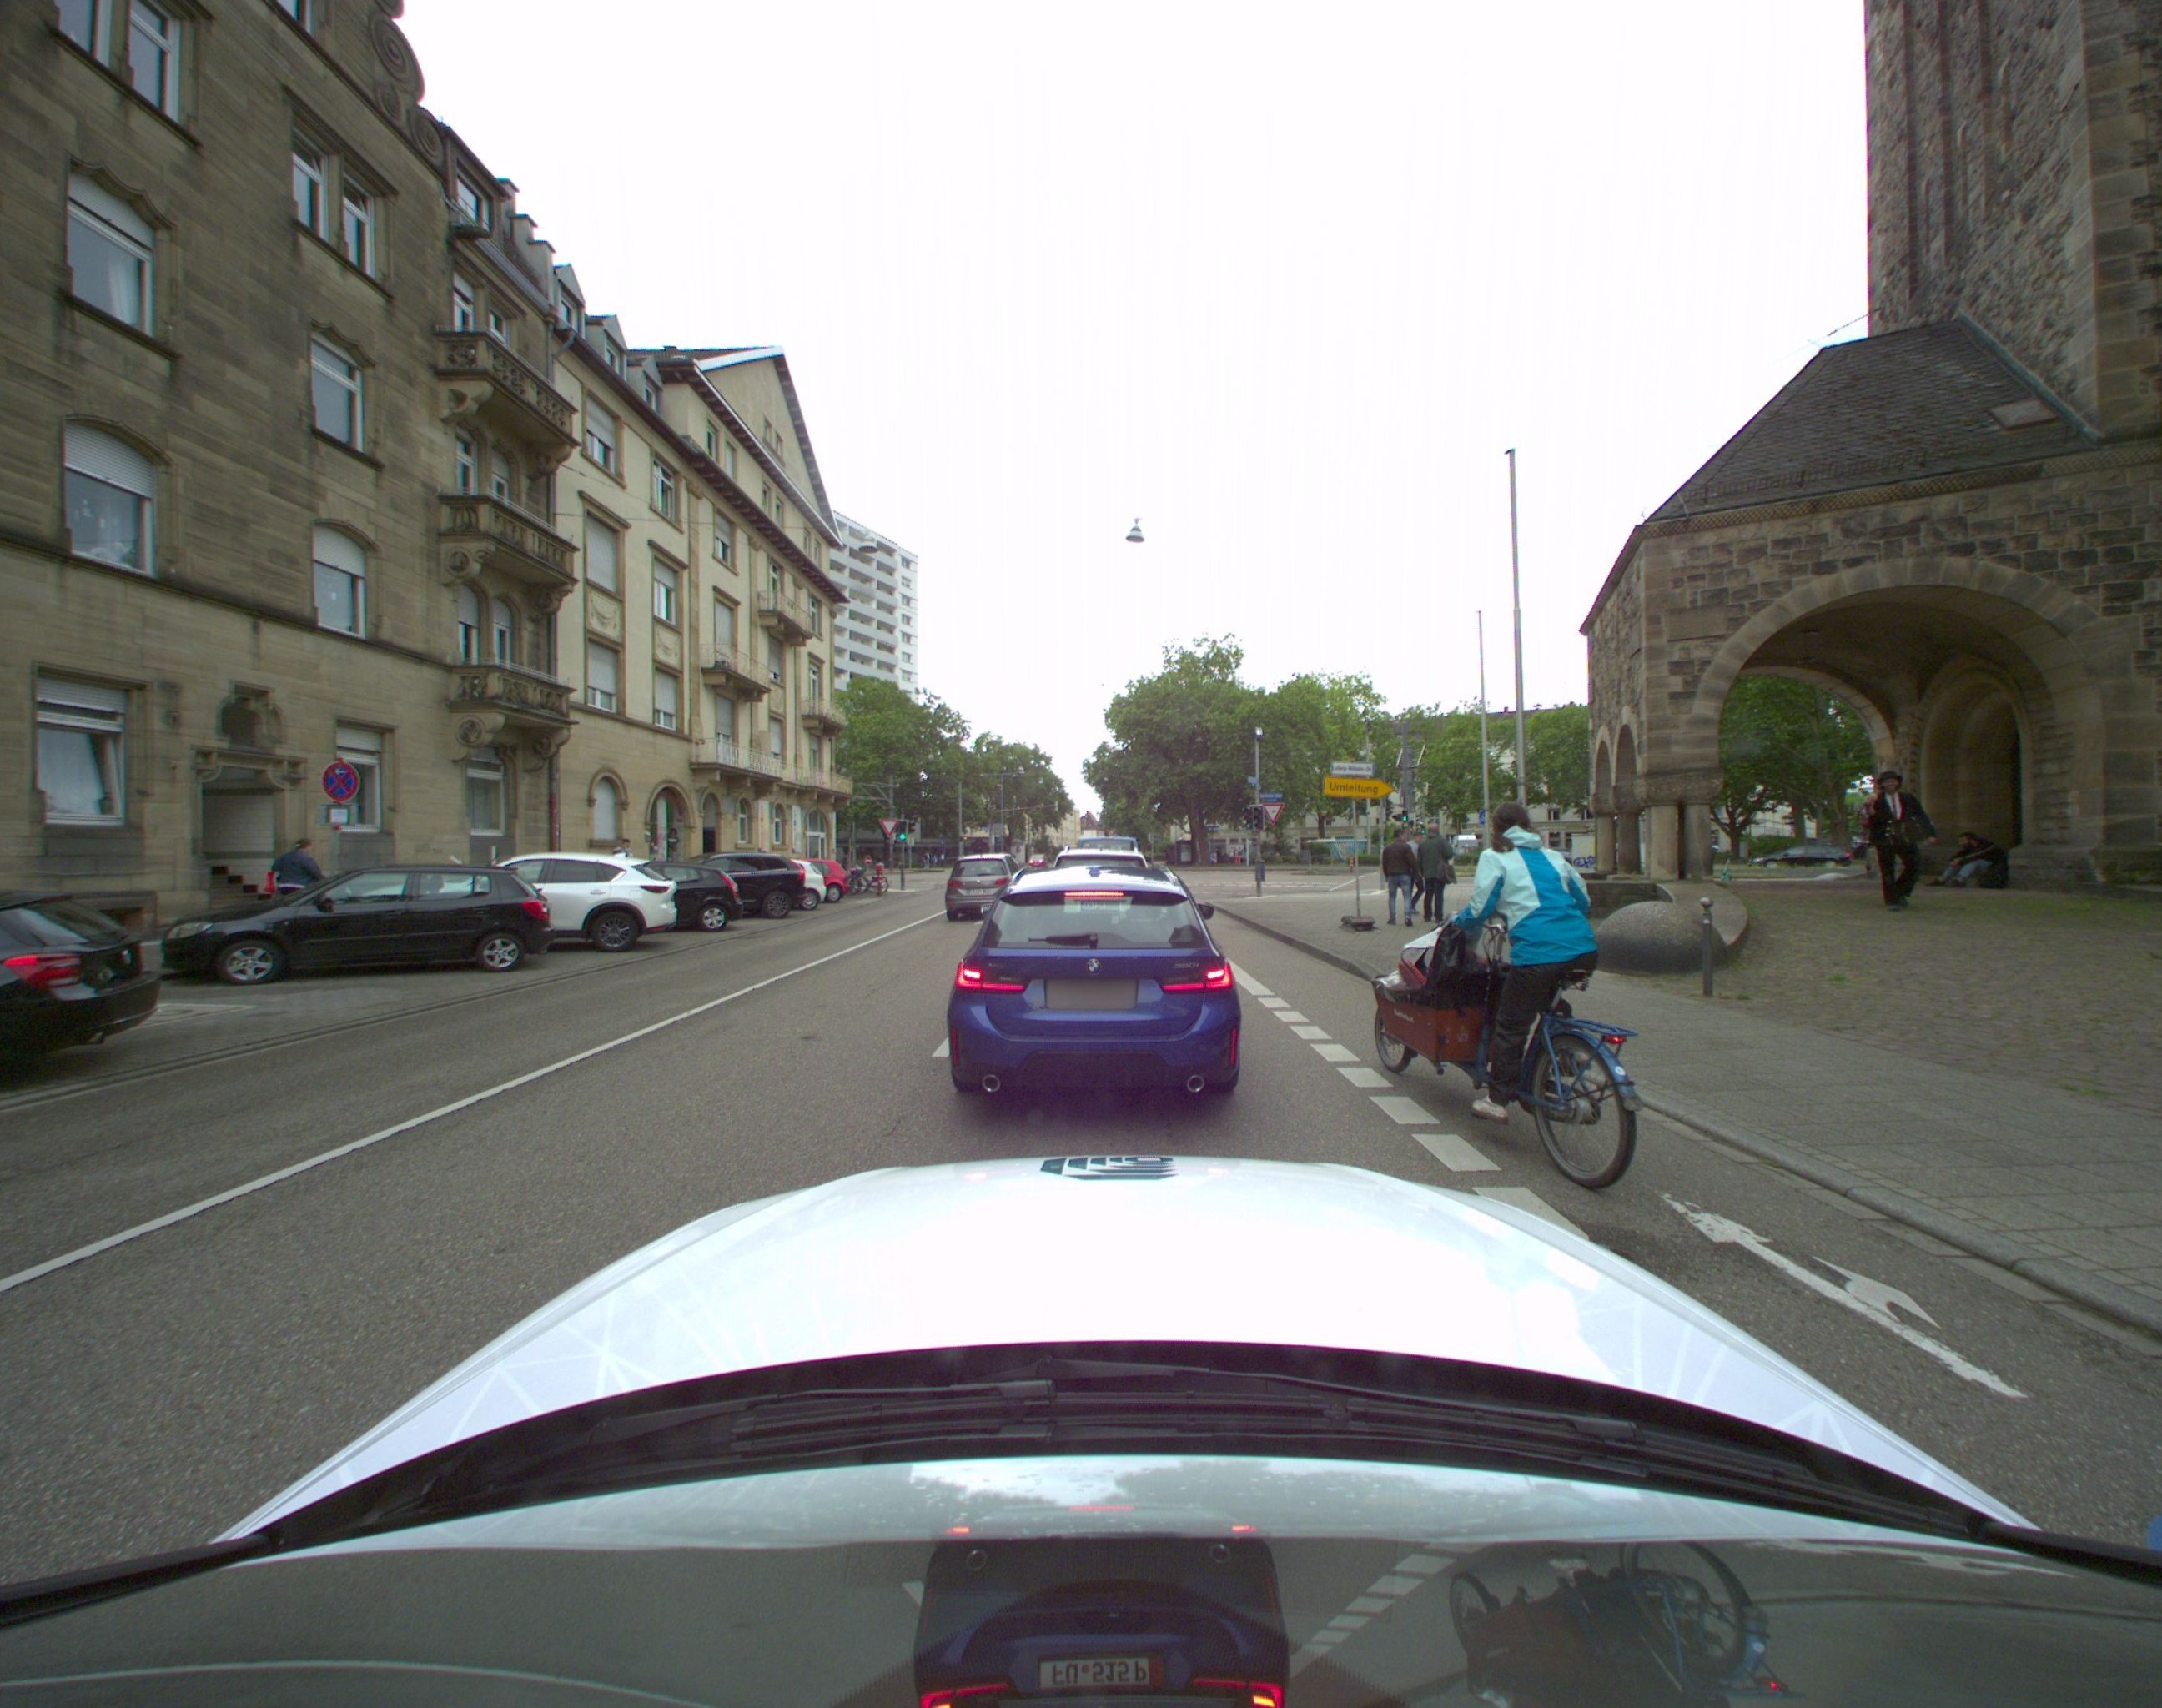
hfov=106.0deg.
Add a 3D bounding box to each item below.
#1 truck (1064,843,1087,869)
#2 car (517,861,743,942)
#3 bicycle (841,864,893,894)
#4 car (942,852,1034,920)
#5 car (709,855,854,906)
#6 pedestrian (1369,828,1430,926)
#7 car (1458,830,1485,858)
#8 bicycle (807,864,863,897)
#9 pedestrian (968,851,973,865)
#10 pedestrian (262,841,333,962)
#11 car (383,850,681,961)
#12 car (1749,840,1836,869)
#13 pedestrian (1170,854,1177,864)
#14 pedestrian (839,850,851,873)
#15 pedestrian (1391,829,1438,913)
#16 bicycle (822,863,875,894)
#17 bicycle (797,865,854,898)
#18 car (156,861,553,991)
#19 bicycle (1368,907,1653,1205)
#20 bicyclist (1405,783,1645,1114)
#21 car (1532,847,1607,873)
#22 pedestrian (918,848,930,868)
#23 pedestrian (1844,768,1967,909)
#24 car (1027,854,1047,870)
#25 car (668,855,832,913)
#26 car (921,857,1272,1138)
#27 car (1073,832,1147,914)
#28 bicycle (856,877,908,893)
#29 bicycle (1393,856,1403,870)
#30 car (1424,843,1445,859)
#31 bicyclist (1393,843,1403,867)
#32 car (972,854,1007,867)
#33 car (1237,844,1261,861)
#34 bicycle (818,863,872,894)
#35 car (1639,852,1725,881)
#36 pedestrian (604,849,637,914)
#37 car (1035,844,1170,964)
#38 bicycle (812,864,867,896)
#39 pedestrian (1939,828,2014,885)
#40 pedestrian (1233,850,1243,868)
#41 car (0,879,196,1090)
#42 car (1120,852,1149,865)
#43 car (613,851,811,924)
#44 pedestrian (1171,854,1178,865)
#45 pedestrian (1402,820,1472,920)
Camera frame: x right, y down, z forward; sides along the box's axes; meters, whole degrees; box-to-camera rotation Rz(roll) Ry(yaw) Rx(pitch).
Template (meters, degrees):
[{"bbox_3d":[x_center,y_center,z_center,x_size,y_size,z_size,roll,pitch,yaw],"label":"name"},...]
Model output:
[{"bbox_3d":[-0.528,0.150,80.382,2.068,2.408,5.461,-2,0,0],"label":"truck"},{"bbox_3d":[-9.471,0.910,17.211,4.017,1.494,1.713,0,0,-36],"label":"car"},{"bbox_3d":[-8.586,0.994,32.710,1.880,1.035,0.442,5,0,-1],"label":"bicycle"},{"bbox_3d":[-2.257,0.734,20.710,1.726,1.525,4.002,-1,0,2],"label":"car"},{"bbox_3d":[-9.497,0.807,26.054,1.663,1.472,4.024,1,0,43],"label":"car"},{"bbox_3d":[5.759,0.394,14.782,0.672,1.686,0.969,-3,0,2],"label":"pedestrian"},{"bbox_3d":[39.083,-0.993,81.511,2.214,2.639,5.480,-1,0,28],"label":"car"},{"bbox_3d":[-9.154,0.988,30.341,1.880,1.035,0.442,5,0,-1],"label":"bicycle"},{"bbox_3d":[-13.907,0.504,102.507,0.571,1.771,0.513,-1,0,-11],"label":"pedestrian"},{"bbox_3d":[-12.985,0.772,13.507,0.616,1.958,0.551,-1,0,2],"label":"pedestrian"},{"bbox_3d":[-9.280,0.795,14.213,4.004,1.723,1.827,0,0,-23],"label":"car"},{"bbox_3d":[40.987,0.027,46.983,3.425,1.561,1.697,-1,0,24],"label":"car"},{"bbox_3d":[11.845,0.639,103.932,0.814,1.372,0.763,-1,0,1],"label":"pedestrian"},{"bbox_3d":[-18.335,0.558,63.199,0.672,1.771,0.726,-1,0,1],"label":"pedestrian"},{"bbox_3d":[6.973,0.344,17.071,0.629,1.673,0.971,-3,0,8],"label":"pedestrian"},{"bbox_3d":[-9.165,0.966,32.176,1.880,1.035,0.442,5,0,-1],"label":"bicycle"},{"bbox_3d":[-9.269,0.989,29.527,1.877,1.035,0.443,4,0,4],"label":"bicycle"},{"bbox_3d":[-9.630,0.867,11.213,3.830,1.497,1.552,1,-1,-37],"label":"car"},{"bbox_3d":[2.183,0.919,4.496,0.492,1.098,2.139,-1,0,2],"label":"bicycle"},{"bbox_3d":[2.261,0.433,4.291,0.683,1.517,1.059,-1,0,2],"label":"bicyclist"},{"bbox_3d":[31.114,0.367,52.003,3.940,1.561,1.697,-1,0,24],"label":"car"},{"bbox_3d":[-13.812,0.338,71.583,0.668,1.771,0.730,-1,0,43],"label":"pedestrian"},{"bbox_3d":[11.123,-0.237,11.032,0.806,1.808,1.026,-1,5,22],"label":"pedestrian"},{"bbox_3d":[-4.376,0.787,80.861,1.643,1.447,3.512,-1,0,2],"label":"car"},{"bbox_3d":[-9.348,0.822,23.203,4.021,1.472,1.546,2,0,-41],"label":"car"},{"bbox_3d":[0.148,0.759,6.411,1.808,1.405,4.322,-1,0,2],"label":"car"},{"bbox_3d":[0.782,0.467,22.092,1.808,2.005,4.002,-1,0,2],"label":"car"},{"bbox_3d":[-8.222,1.285,33.741,1.880,0.445,1.029,5,2,-1],"label":"bicycle"},{"bbox_3d":[22.493,0.637,57.732,0.546,0.995,2.072,-1,0,24],"label":"bicycle"},{"bbox_3d":[34.915,-0.339,80.411,1.649,1.515,3.962,-1,0,28],"label":"car"},{"bbox_3d":[22.500,0.082,57.723,0.608,1.654,0.758,-1,0,23],"label":"bicyclist"},{"bbox_3d":[-11.695,0.803,104.614,4.014,1.706,1.980,0,-1,-32],"label":"car"},{"bbox_3d":[22.119,-0.188,107.087,2.154,2.200,4.024,-1,0,26],"label":"car"},{"bbox_3d":[-9.149,0.949,31.540,1.880,1.035,0.442,5,0,-1],"label":"bicycle"},{"bbox_3d":[36.584,0.743,49.689,3.901,1.711,1.697,-1,-1,24],"label":"car"},{"bbox_3d":[-12.994,0.763,22.985,0.564,1.785,0.551,-1,0,3],"label":"pedestrian"},{"bbox_3d":[0.354,0.676,13.060,1.808,1.592,4.002,-1,0,2],"label":"car"},{"bbox_3d":[-9.151,0.970,30.877,1.880,1.035,0.442,5,0,-1],"label":"bicycle"},{"bbox_3d":[15.536,0.045,14.145,0.665,0.951,0.618,-1,0,24],"label":"pedestrian"},{"bbox_3d":[15.248,0.449,79.258,0.781,1.743,0.925,-1,0,0],"label":"pedestrian"},{"bbox_3d":[-9.131,0.906,5.462,4.016,1.417,1.644,1,-1,-34],"label":"car"},{"bbox_3d":[7.505,0.659,114.131,3.865,1.741,1.763,-1,0,4],"label":"car"},{"bbox_3d":[-9.217,0.769,20.546,4.248,1.651,1.711,0,0,-41],"label":"car"},{"bbox_3d":[11.796,0.669,103.013,0.850,1.314,0.763,-1,0,1],"label":"pedestrian"},{"bbox_3d":[6.586,0.285,15.111,0.801,1.758,0.969,-3,0,1],"label":"pedestrian"}]
